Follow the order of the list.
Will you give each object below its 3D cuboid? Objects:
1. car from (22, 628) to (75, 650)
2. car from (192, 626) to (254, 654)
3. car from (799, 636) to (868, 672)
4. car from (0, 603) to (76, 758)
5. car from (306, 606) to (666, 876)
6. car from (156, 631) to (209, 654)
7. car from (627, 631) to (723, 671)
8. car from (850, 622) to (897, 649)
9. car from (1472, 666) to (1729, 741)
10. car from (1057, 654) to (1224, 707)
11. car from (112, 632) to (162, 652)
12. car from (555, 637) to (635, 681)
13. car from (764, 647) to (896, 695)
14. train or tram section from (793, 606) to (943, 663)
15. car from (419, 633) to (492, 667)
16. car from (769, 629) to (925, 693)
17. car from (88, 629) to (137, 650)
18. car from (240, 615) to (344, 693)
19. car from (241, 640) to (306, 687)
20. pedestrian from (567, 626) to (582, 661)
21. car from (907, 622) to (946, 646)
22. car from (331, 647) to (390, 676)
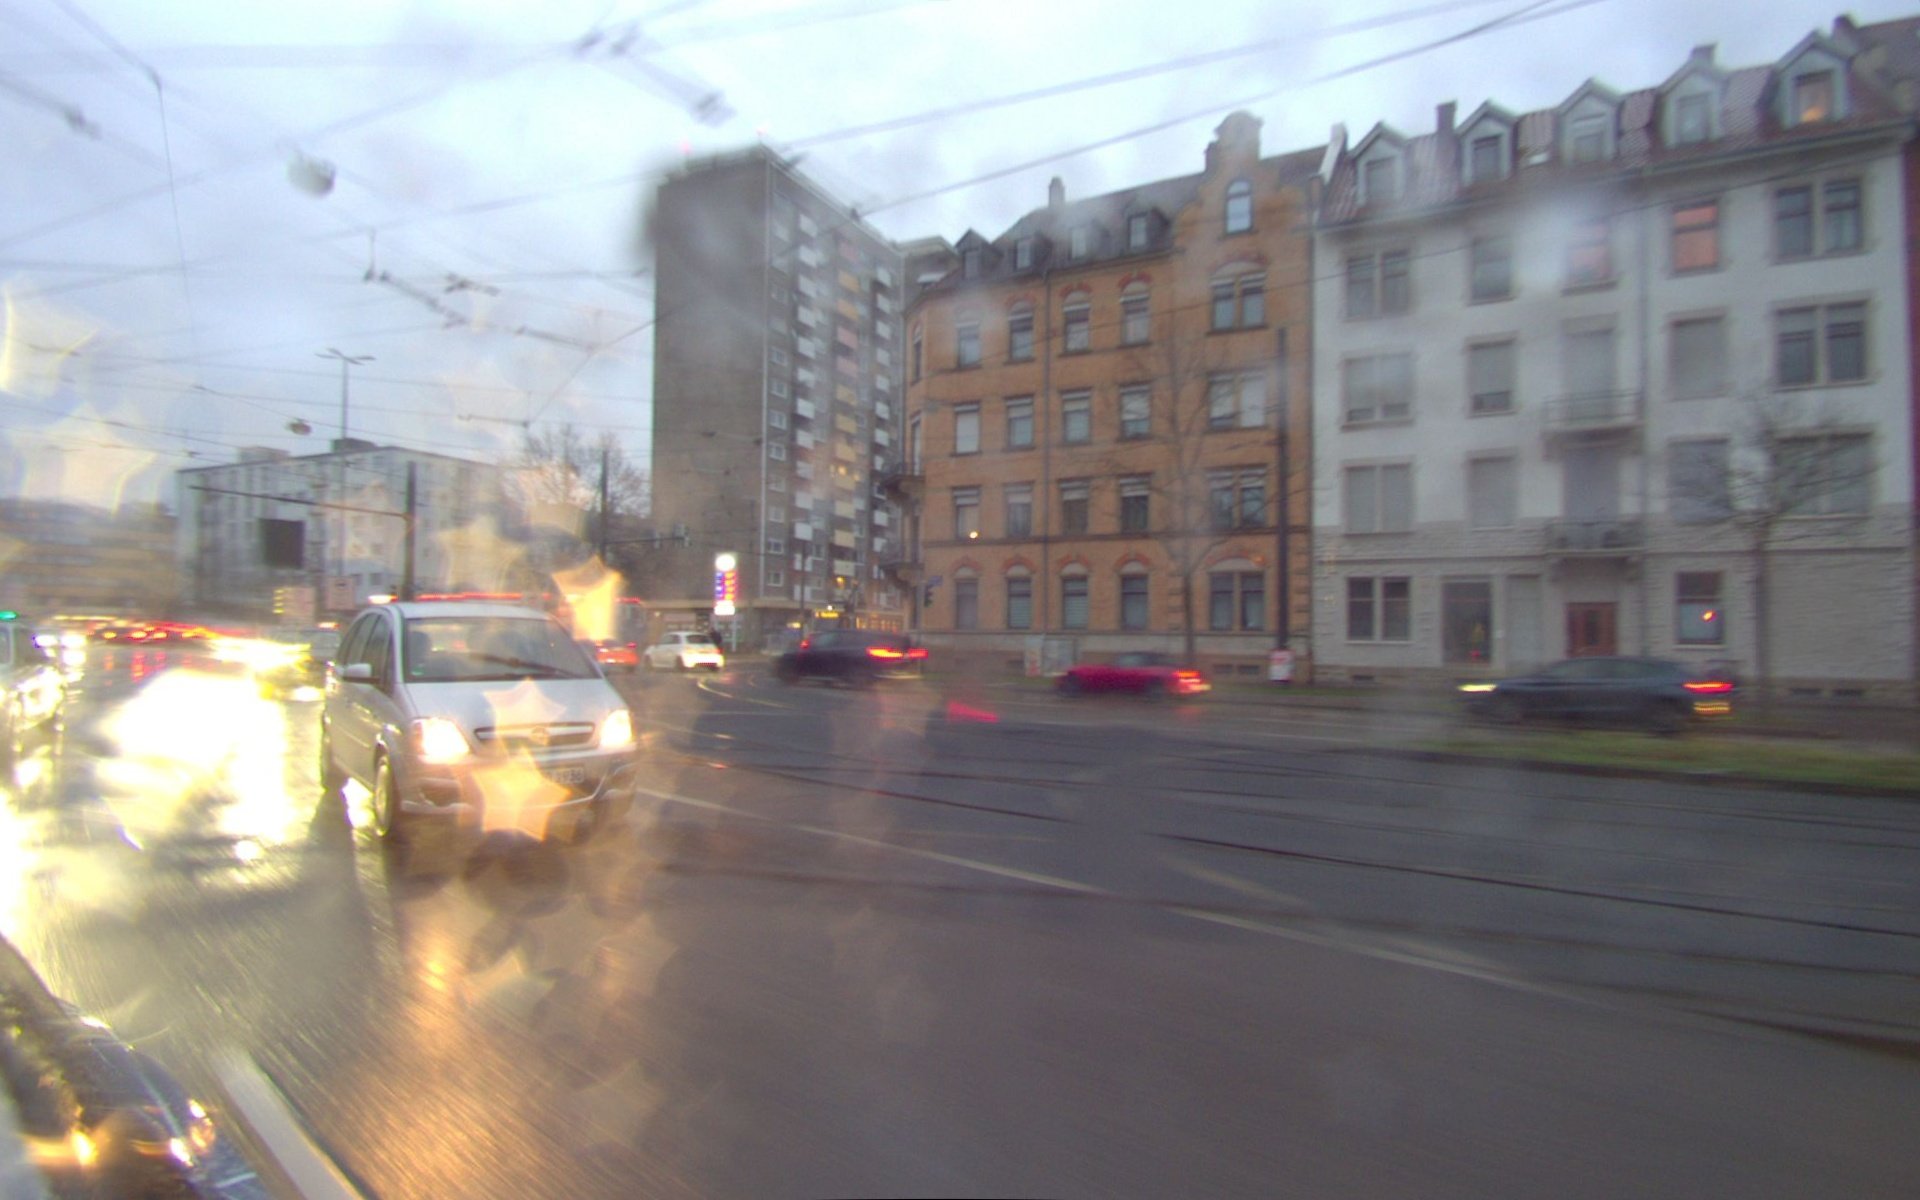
[{"bbox_3d":[-78.251,3.356,86.897,4.513,1.796,1.950,-1,-4,29],"label":"car"},{"bbox_3d":[-56.759,3.082,77.956,4.835,1.961,1.979,-1,-5,30],"label":"car"},{"bbox_3d":[-5.753,2.454,46.365,1.670,1.537,4.207,0,-2,15],"label":"car"},{"bbox_3d":[-11.293,0.839,11.203,1.622,1.596,3.815,1,-2,-32],"label":"car"},{"bbox_3d":[-3.928,0.882,7.978,1.624,1.560,4.117,2,-3,-39],"label":"car"},{"bbox_3d":[-56.518,3.106,73.542,4.647,1.643,1.632,-2,-4,34],"label":"car"},{"bbox_3d":[-10.633,1.873,37.719,3.610,1.402,1.663,-1,-3,39],"label":"car"},{"bbox_3d":[-6.677,2.757,78.472,1.988,2.029,3.968,0,-1,24],"label":"car"},{"bbox_3d":[12.316,1.955,19.718,4.074,1.236,1.525,-1,-3,32],"label":"car"},{"bbox_3d":[4.437,1.939,25.067,3.780,1.143,1.586,-1,-3,35],"label":"car"},{"bbox_3d":[-63.153,3.251,77.645,4.129,1.498,1.633,-1,-4,31],"label":"car"},{"bbox_3d":[-13.095,2.081,36.255,3.154,1.498,1.470,-2,-3,44],"label":"car"},{"bbox_3d":[-4.125,2.184,31.721,4.387,1.364,1.662,-1,-3,42],"label":"car"},{"bbox_3d":[-5.321,2.103,64.582,3.145,3.212,16.202,0,-1,19],"label":"train or tram section"},{"bbox_3d":[-22.739,2.228,45.568,1.661,1.468,4.337,3,-3,-45],"label":"car"},{"bbox_3d":[-3.049,1.579,26.866,4.115,1.565,1.664,-1,-3,37],"label":"car"},{"bbox_3d":[-61.621,2.828,73.555,3.839,1.461,1.631,-1,-2,33],"label":"car"},{"bbox_3d":[-14.849,1.198,22.518,1.725,1.556,4.010,3,-4,-34],"label":"car"},{"bbox_3d":[-27.128,2.487,39.962,1.791,1.756,4.194,3,-4,-38],"label":"car"},{"bbox_3d":[-19.491,2.192,51.182,0.461,1.785,0.630,2,-2,-40],"label":"pedestrian"},{"bbox_3d":[-2.901,2.968,88.721,1.988,2.029,3.968,0,-1,24],"label":"car"},{"bbox_3d":[-32.829,3.362,55.359,4.063,1.468,1.661,-2,-3,43],"label":"car"}]
